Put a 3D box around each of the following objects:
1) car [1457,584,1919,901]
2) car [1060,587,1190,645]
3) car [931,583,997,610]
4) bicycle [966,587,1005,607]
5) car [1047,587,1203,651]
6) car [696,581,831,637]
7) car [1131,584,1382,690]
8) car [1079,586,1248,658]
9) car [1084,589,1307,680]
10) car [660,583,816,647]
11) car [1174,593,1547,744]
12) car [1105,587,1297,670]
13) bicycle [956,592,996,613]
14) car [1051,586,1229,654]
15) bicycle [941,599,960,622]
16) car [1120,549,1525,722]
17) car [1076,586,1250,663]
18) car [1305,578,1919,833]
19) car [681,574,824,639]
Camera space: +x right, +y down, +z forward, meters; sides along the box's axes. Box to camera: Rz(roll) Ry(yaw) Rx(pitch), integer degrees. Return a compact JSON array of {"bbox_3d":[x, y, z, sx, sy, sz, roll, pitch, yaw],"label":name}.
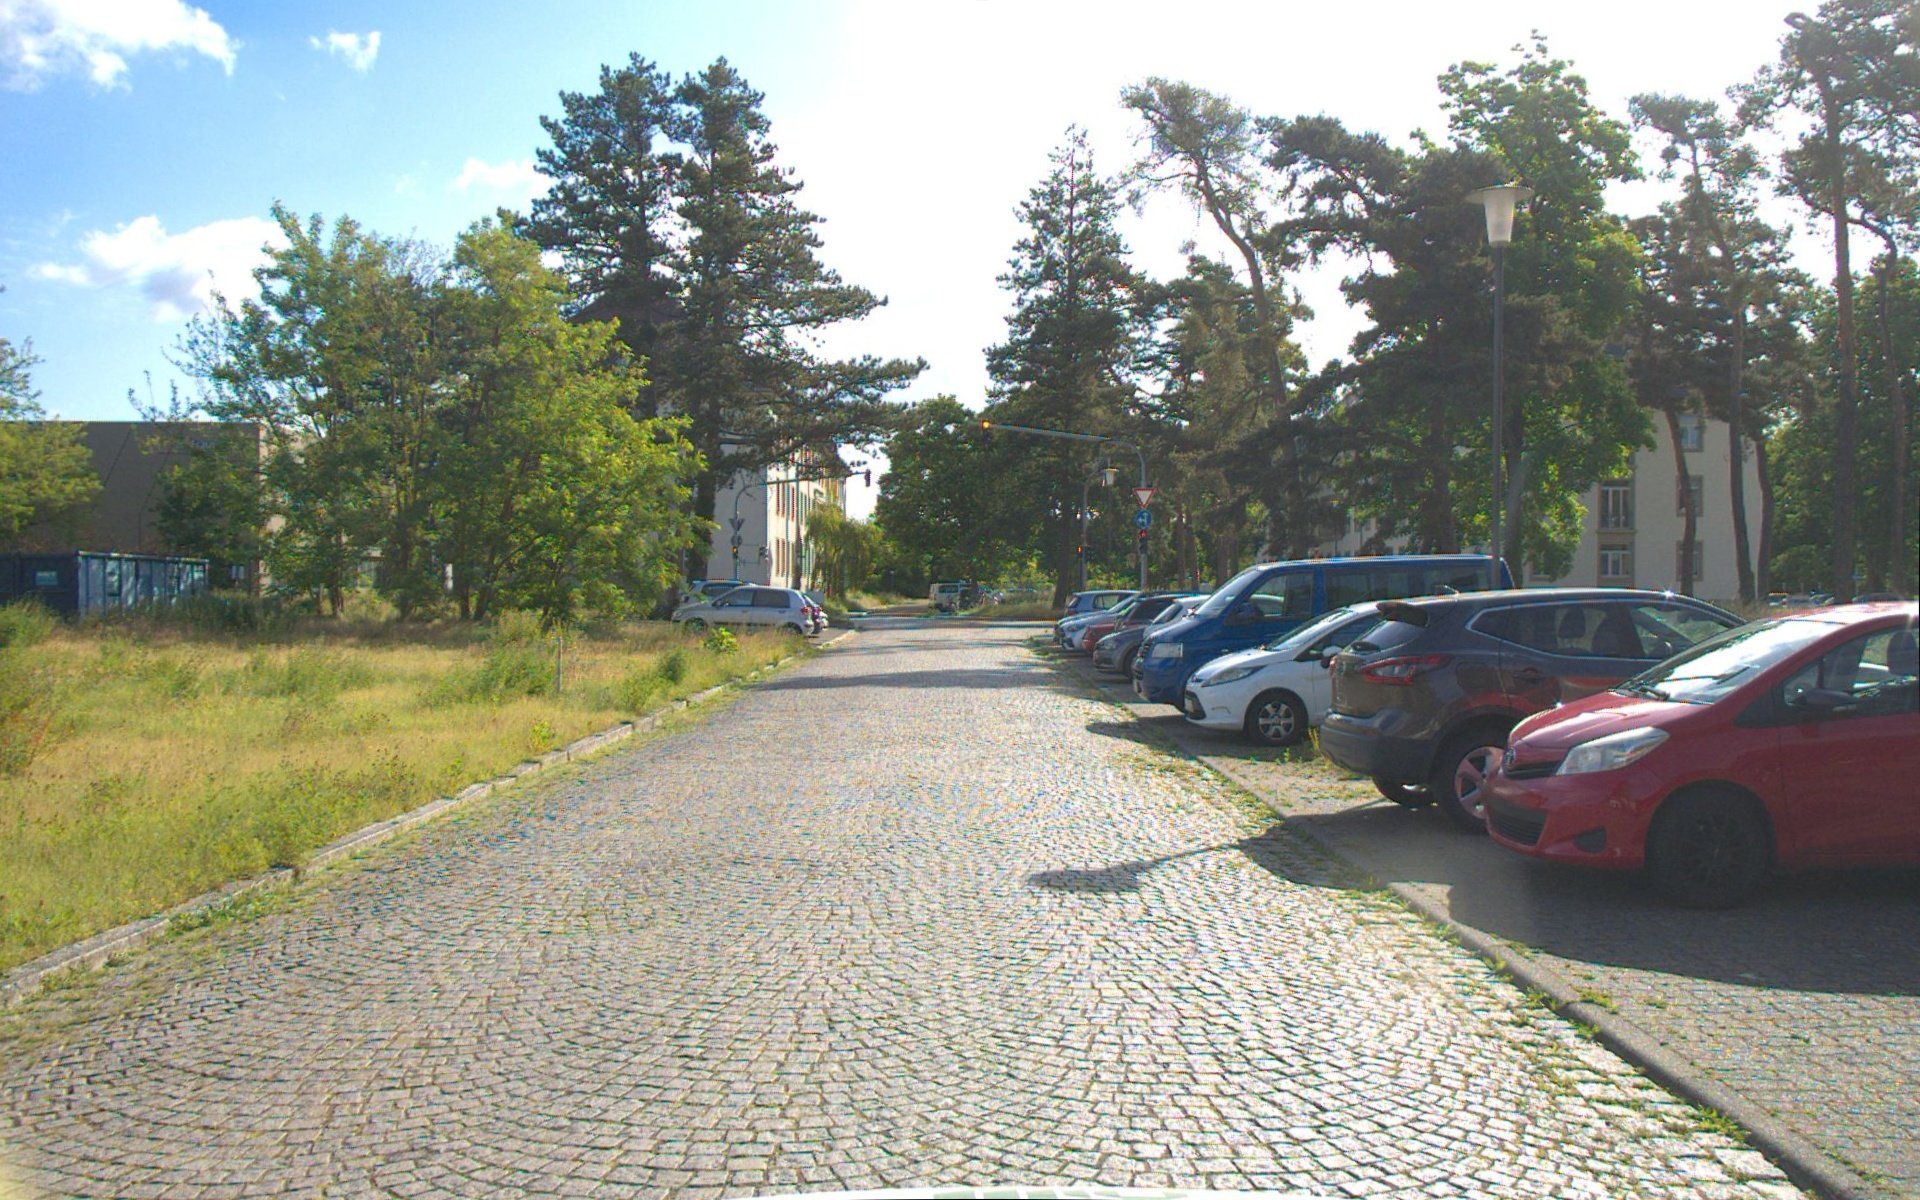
[{"bbox_3d":[4.794,0.699,8.996,3.686,1.557,1.645,0,0,-1],"label":"car"},{"bbox_3d":[4.401,0.417,44.382,3.276,1.508,1.645,0,0,-2],"label":"car"},{"bbox_3d":[0.272,-0.245,110.801,4.389,1.758,2.000,1,0,-1],"label":"car"},{"bbox_3d":[1.448,-0.161,94.710,2.134,1.119,0.805,1,0,-10],"label":"bicycle"},{"bbox_3d":[4.127,0.462,41.739,3.758,1.556,1.645,0,0,-2],"label":"car"},{"bbox_3d":[-6.048,0.264,51.282,3.906,1.478,2.000,3,0,-1],"label":"car"},{"bbox_3d":[4.586,0.556,25.935,3.618,1.491,1.645,-2,0,0],"label":"car"},{"bbox_3d":[4.501,0.480,36.893,3.530,1.556,1.645,0,0,-2],"label":"car"},{"bbox_3d":[4.053,0.579,28.816,3.601,1.492,1.645,-1,0,-2],"label":"car"},{"bbox_3d":[-5.774,0.372,43.495,3.907,1.628,1.999,0,0,-3],"label":"car"},{"bbox_3d":[4.298,0.706,18.076,3.645,1.514,1.644,-1,0,-3],"label":"car"},{"bbox_3d":[4.585,0.526,31.741,3.408,1.556,1.645,0,0,-2],"label":"car"},{"bbox_3d":[0.915,0.149,93.337,2.134,1.119,0.805,1,0,-10],"label":"bicycle"},{"bbox_3d":[4.202,0.462,38.968,3.955,1.556,1.644,0,0,-4],"label":"car"},{"bbox_3d":[-0.528,0.543,89.861,0.789,1.190,2.177,-1,1,-6],"label":"bicycle"},{"bbox_3d":[4.439,0.415,20.755,4.584,2.049,2.082,0,0,-4],"label":"car"},{"bbox_3d":[4.187,0.499,34.428,3.408,1.556,1.645,0,0,-2],"label":"car"},{"bbox_3d":[4.556,0.677,11.660,3.856,1.650,1.771,0,0,-2],"label":"car"},{"bbox_3d":[-6.096,0.181,48.881,3.906,1.629,2.000,4,0,-1],"label":"car"}]
